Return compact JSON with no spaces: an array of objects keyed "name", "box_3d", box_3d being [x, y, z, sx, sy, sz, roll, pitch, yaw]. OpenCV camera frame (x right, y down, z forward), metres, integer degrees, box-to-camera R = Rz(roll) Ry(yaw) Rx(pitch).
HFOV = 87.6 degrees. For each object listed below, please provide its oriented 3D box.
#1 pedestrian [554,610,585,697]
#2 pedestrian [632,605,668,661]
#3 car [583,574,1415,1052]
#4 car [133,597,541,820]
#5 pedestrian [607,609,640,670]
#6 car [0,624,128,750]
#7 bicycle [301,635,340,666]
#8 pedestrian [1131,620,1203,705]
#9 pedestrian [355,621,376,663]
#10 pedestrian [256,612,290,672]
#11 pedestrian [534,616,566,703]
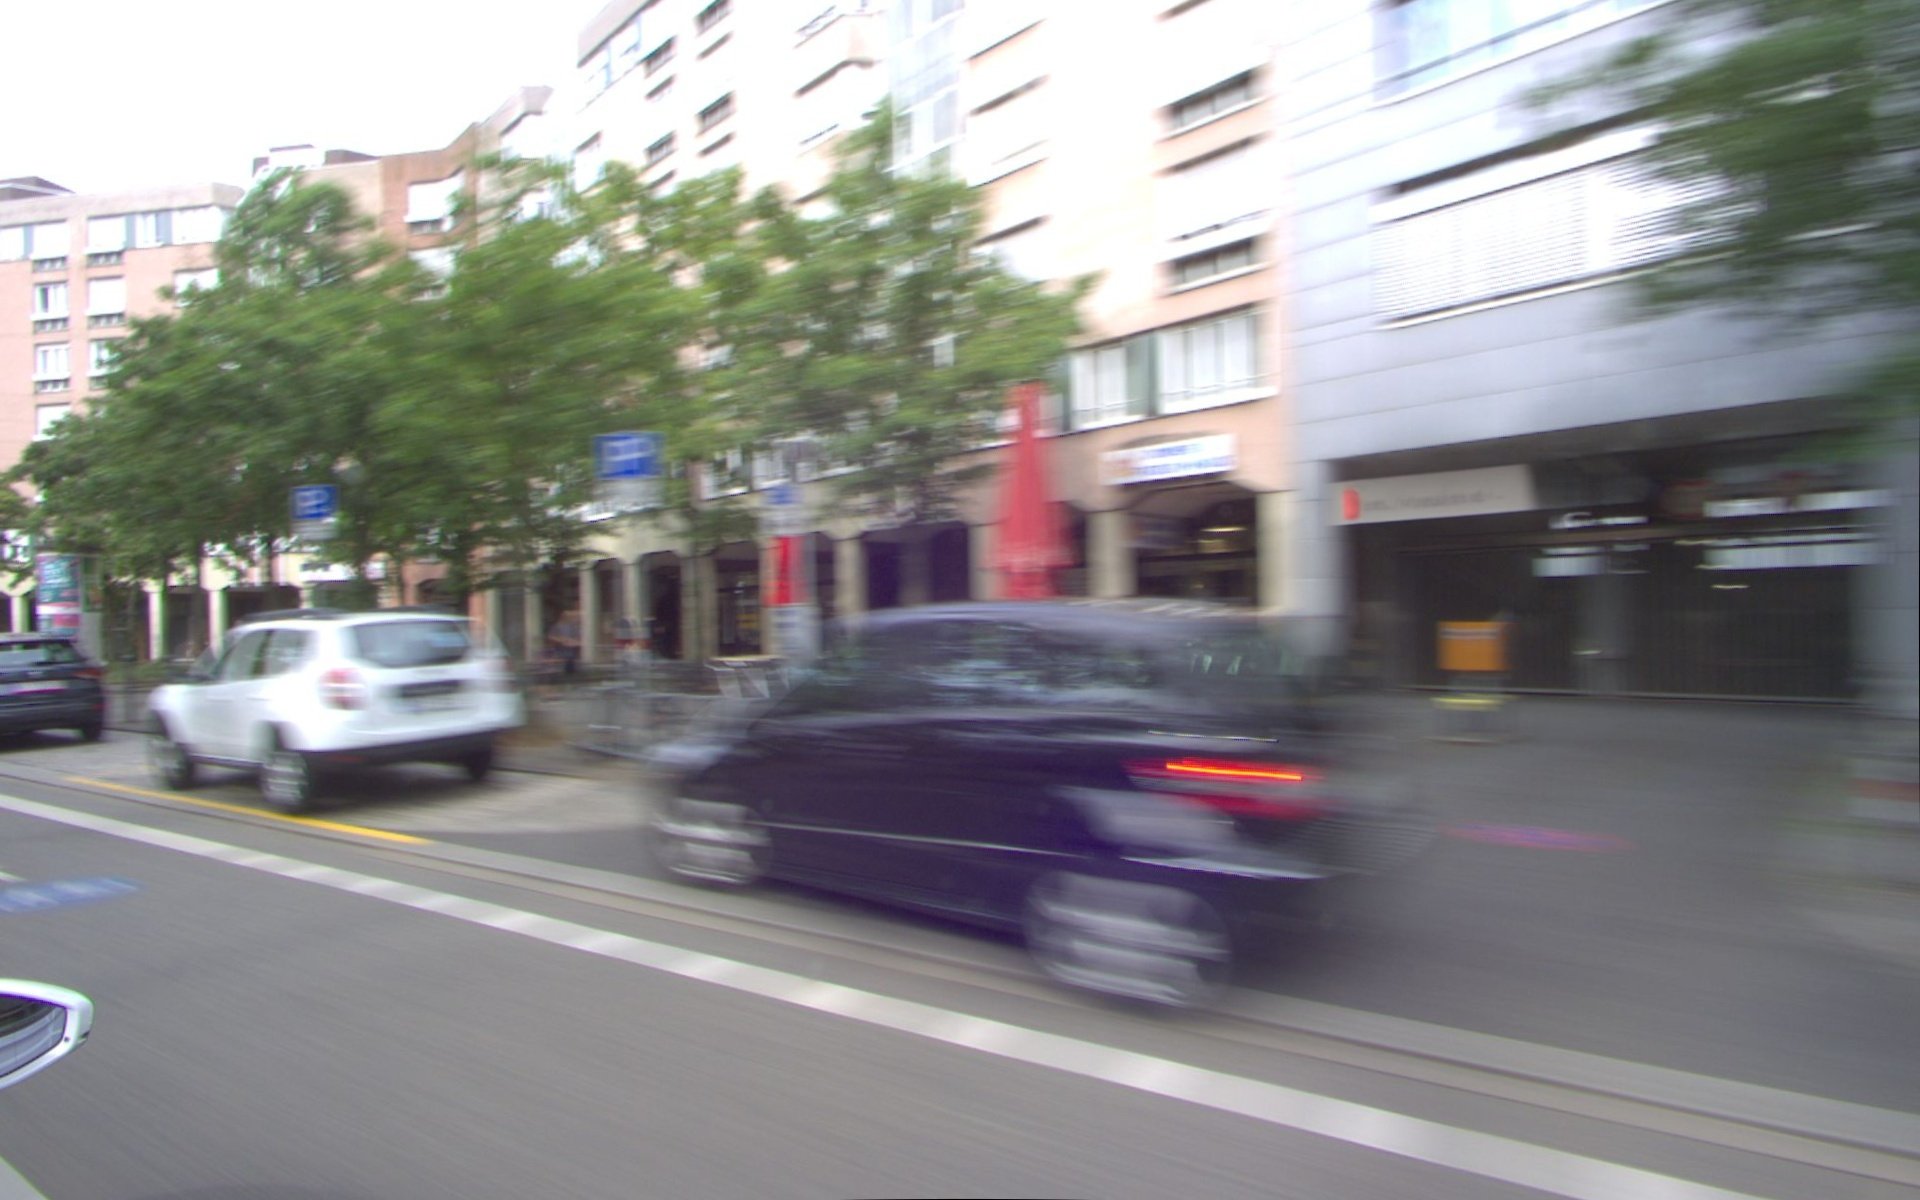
[{"name":"pedestrian","box_3d":[-7.289,0.986,18.678,0.508,1.590,0.479,-1,0,-22]},{"name":"pedestrian","box_3d":[-8.900,0.949,28.739,0.705,1.576,0.791,-1,0,-45]},{"name":"car","box_3d":[-0.052,0.751,5.399,4.253,1.598,1.767,-2,1,39]},{"name":"car","box_3d":[-6.033,0.869,9.552,4.109,1.675,1.855,-2,0,36]},{"name":"pedestrian","box_3d":[-9.430,1.105,28.046,0.674,1.684,0.602,-1,-1,42]},{"name":"car","box_3d":[-13.726,1.170,14.187,4.143,1.539,1.711,-1,1,32]},{"name":"bicycle","box_3d":[-24.416,1.903,38.269,0.586,1.127,1.963,-1,-1,-12]},{"name":"pedestrian","box_3d":[2.990,0.877,14.448,0.692,1.172,0.816,-1,0,44]},{"name":"pedestrian","box_3d":[-24.283,1.713,40.928,0.842,1.684,0.530,-1,-1,45]},{"name":"pedestrian","box_3d":[-18.485,1.126,26.954,0.674,1.607,0.602,-1,-1,42]},{"name":"pedestrian","box_3d":[-7.242,1.038,17.675,0.495,1.498,0.411,-1,0,-24]}]
